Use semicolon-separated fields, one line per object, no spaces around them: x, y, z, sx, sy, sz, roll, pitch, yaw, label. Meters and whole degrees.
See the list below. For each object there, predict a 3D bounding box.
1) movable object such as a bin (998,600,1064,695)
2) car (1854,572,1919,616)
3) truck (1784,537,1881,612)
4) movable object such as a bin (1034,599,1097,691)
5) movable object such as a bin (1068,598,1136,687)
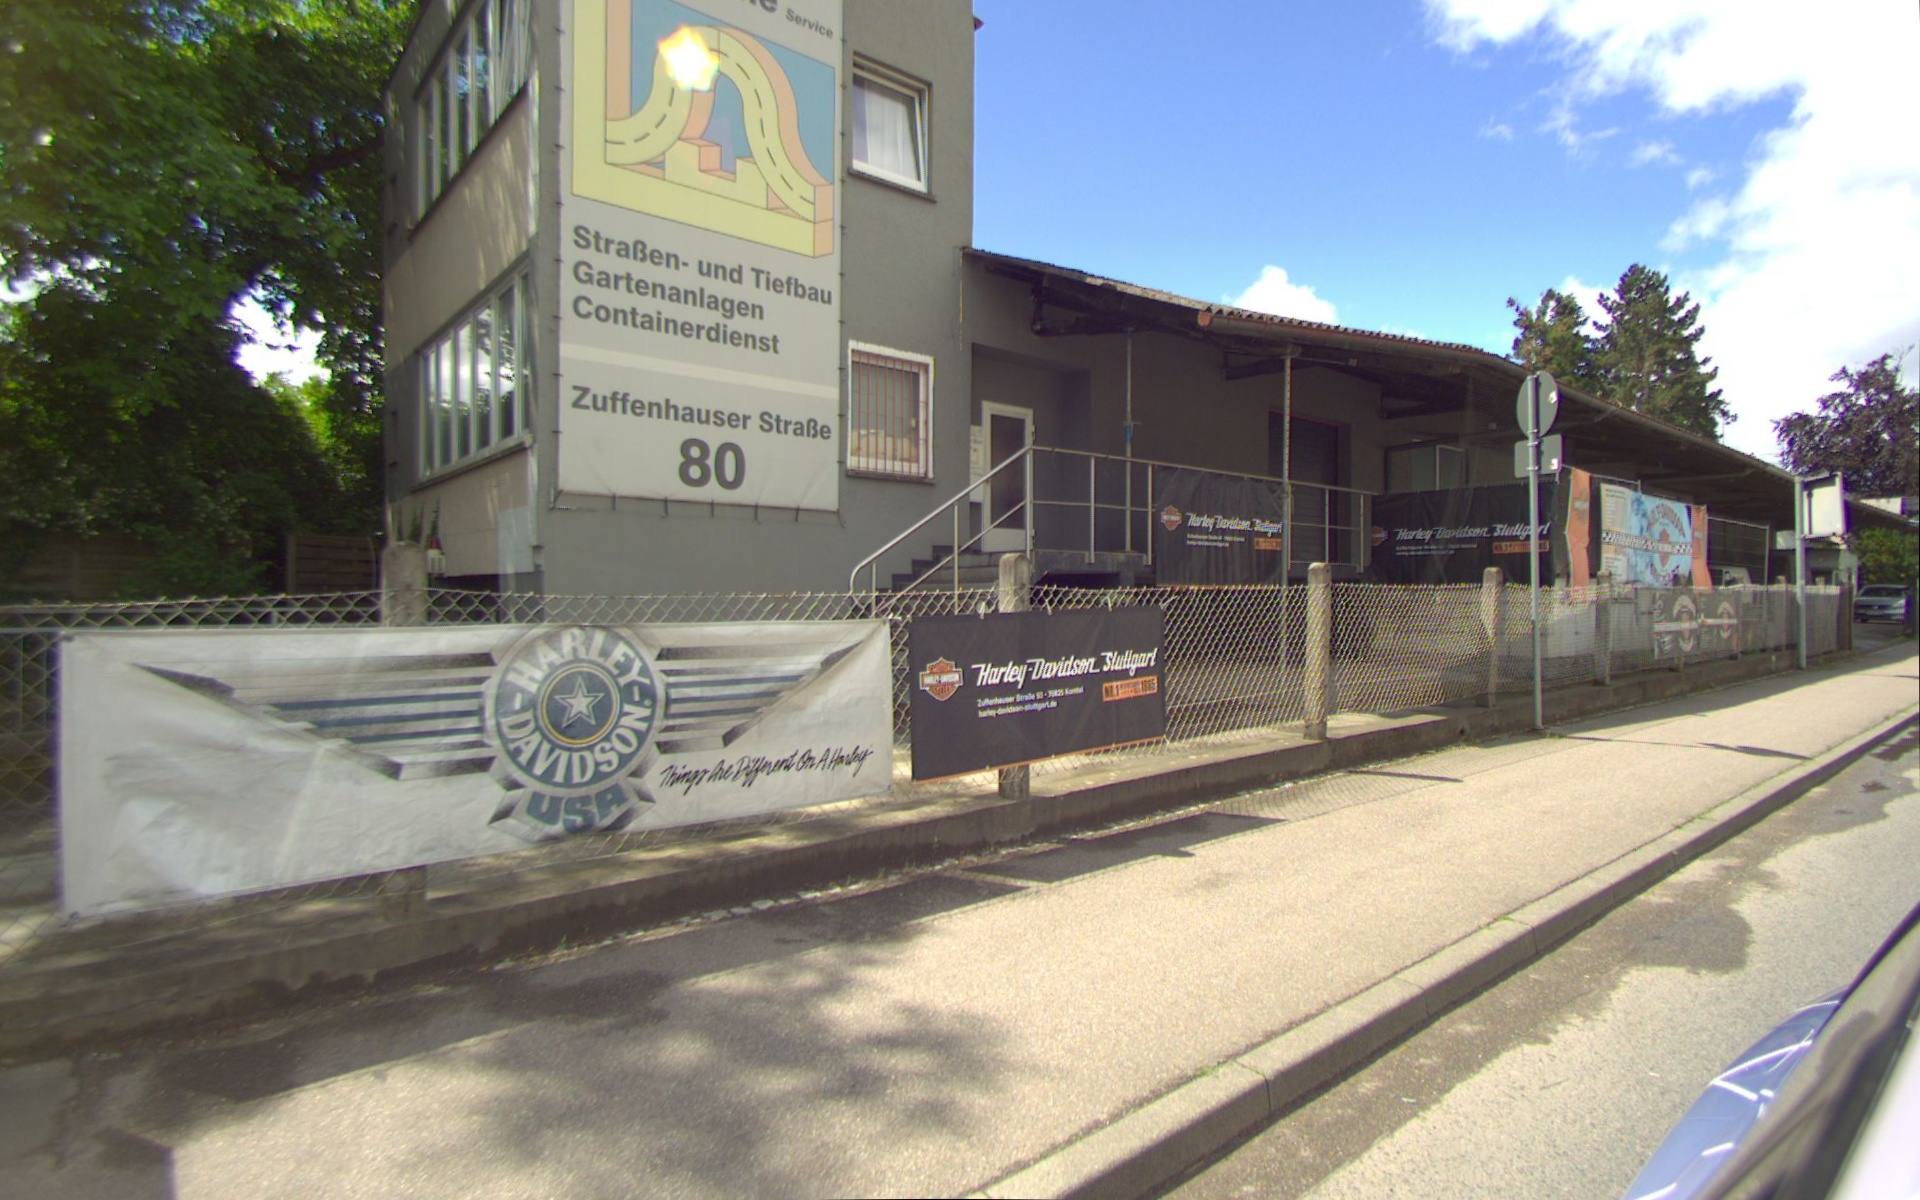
0.732;0.473;10.476;0.466;0.942;0.482;-1;0;-40;movable object such as a bin
35.375;-0.272;38.023;5.109;1.549;1.862;-1;1;-39;car
35.313;-1.025;40.916;5.109;2.864;2.091;-1;1;-39;truck
1.127;0.463;10.811;0.466;0.942;0.482;-1;0;-40;movable object such as a bin
1.566;0.451;11.186;0.573;0.942;0.482;-1;0;-40;movable object such as a bin
